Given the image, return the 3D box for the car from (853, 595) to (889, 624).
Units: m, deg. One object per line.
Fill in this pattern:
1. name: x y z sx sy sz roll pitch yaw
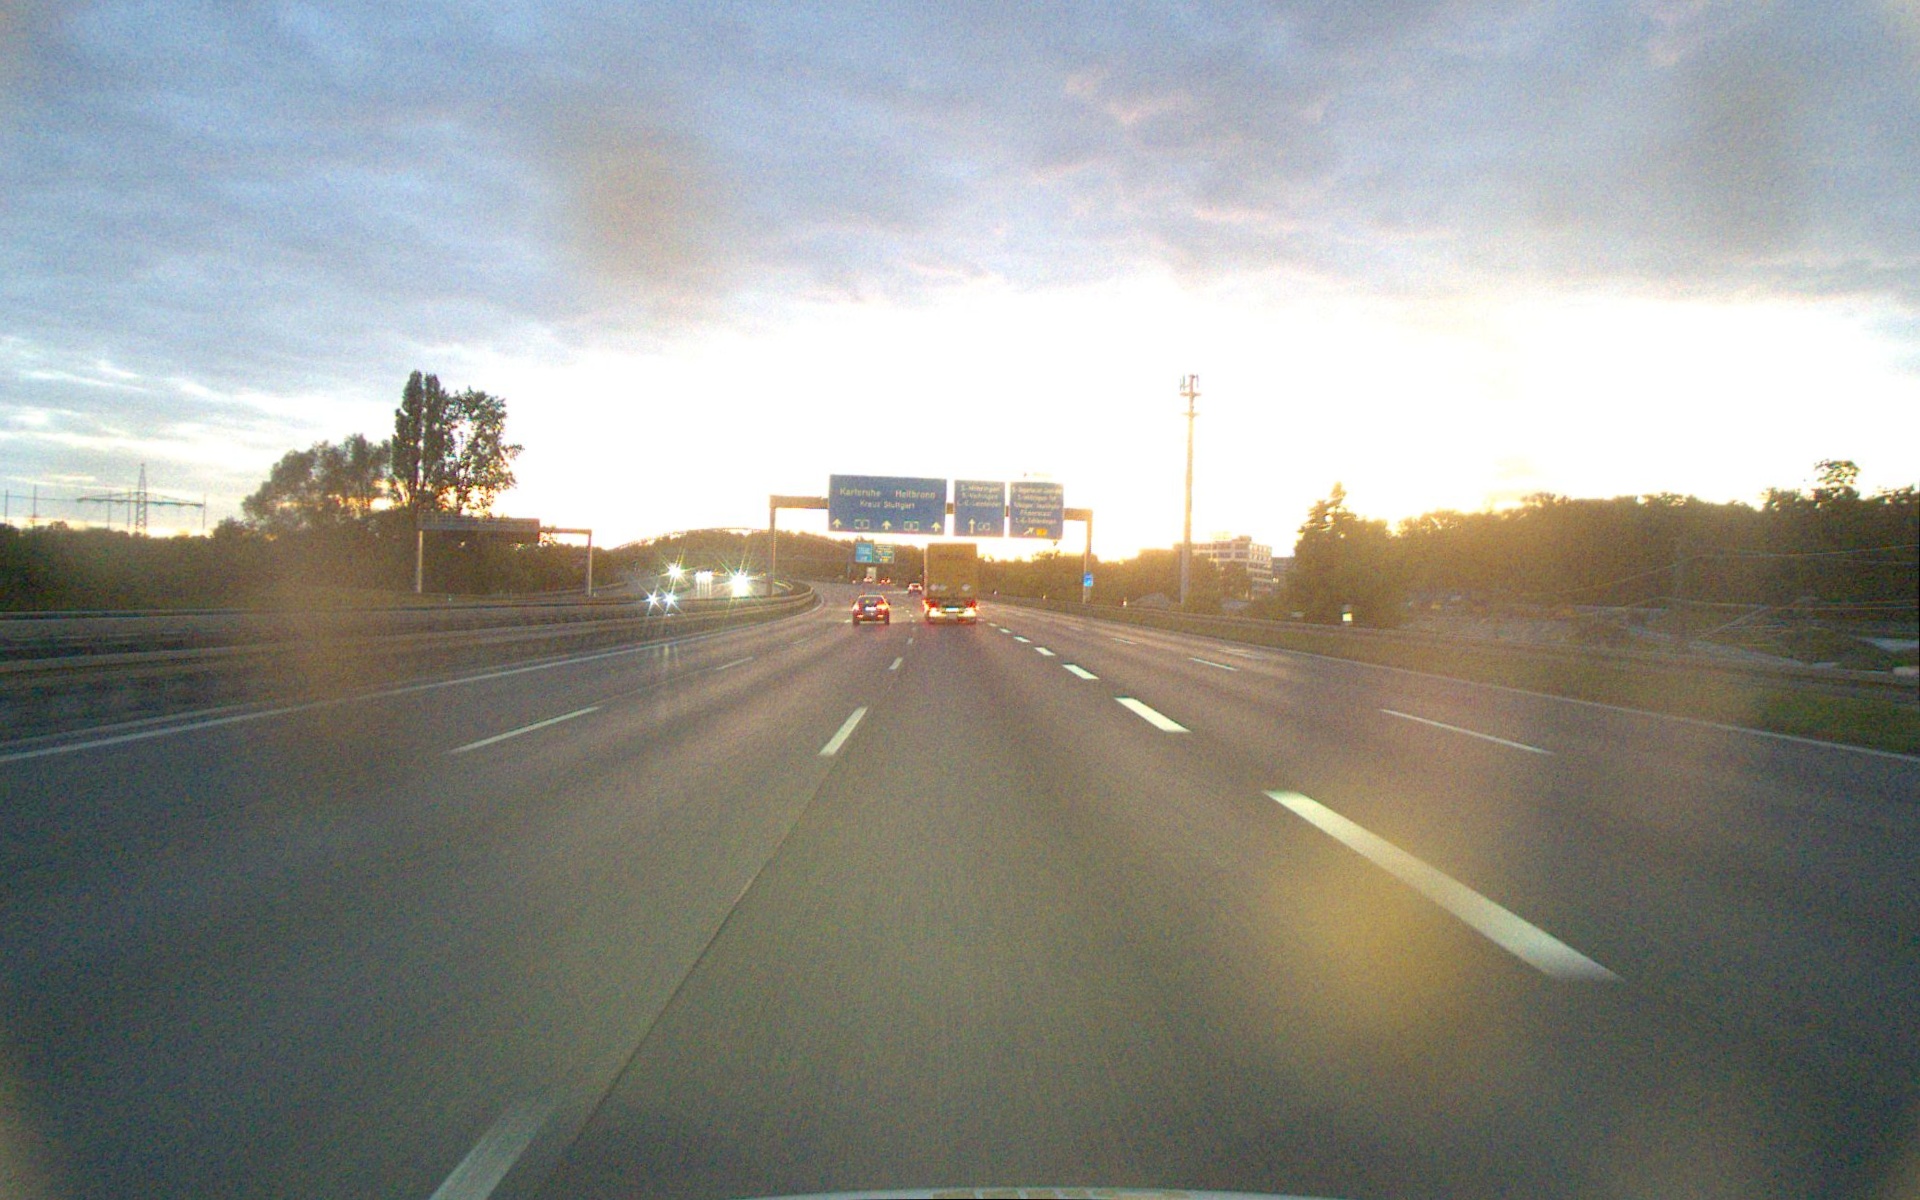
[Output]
1. car: -4.484 0.469 83.300 1.657 1.426 3.404 0 -1 -6

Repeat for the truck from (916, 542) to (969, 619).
1. truck: -1.085 -1.140 95.126 2.636 4.142 10.515 0 1 -3

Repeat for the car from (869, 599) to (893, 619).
1. car: -6.093 0.695 127.293 1.655 1.426 3.408 -1 -1 0

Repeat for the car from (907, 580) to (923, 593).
1. car: -6.623 -1.932 241.828 1.955 1.747 3.994 1 -1 -7

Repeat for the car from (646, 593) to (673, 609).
1. car: -27.680 0.097 152.415 1.954 1.428 4.327 1 0 -3

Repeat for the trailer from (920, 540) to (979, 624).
1. trailer: -0.599 -0.963 85.474 2.667 4.142 8.826 0 1 -3
